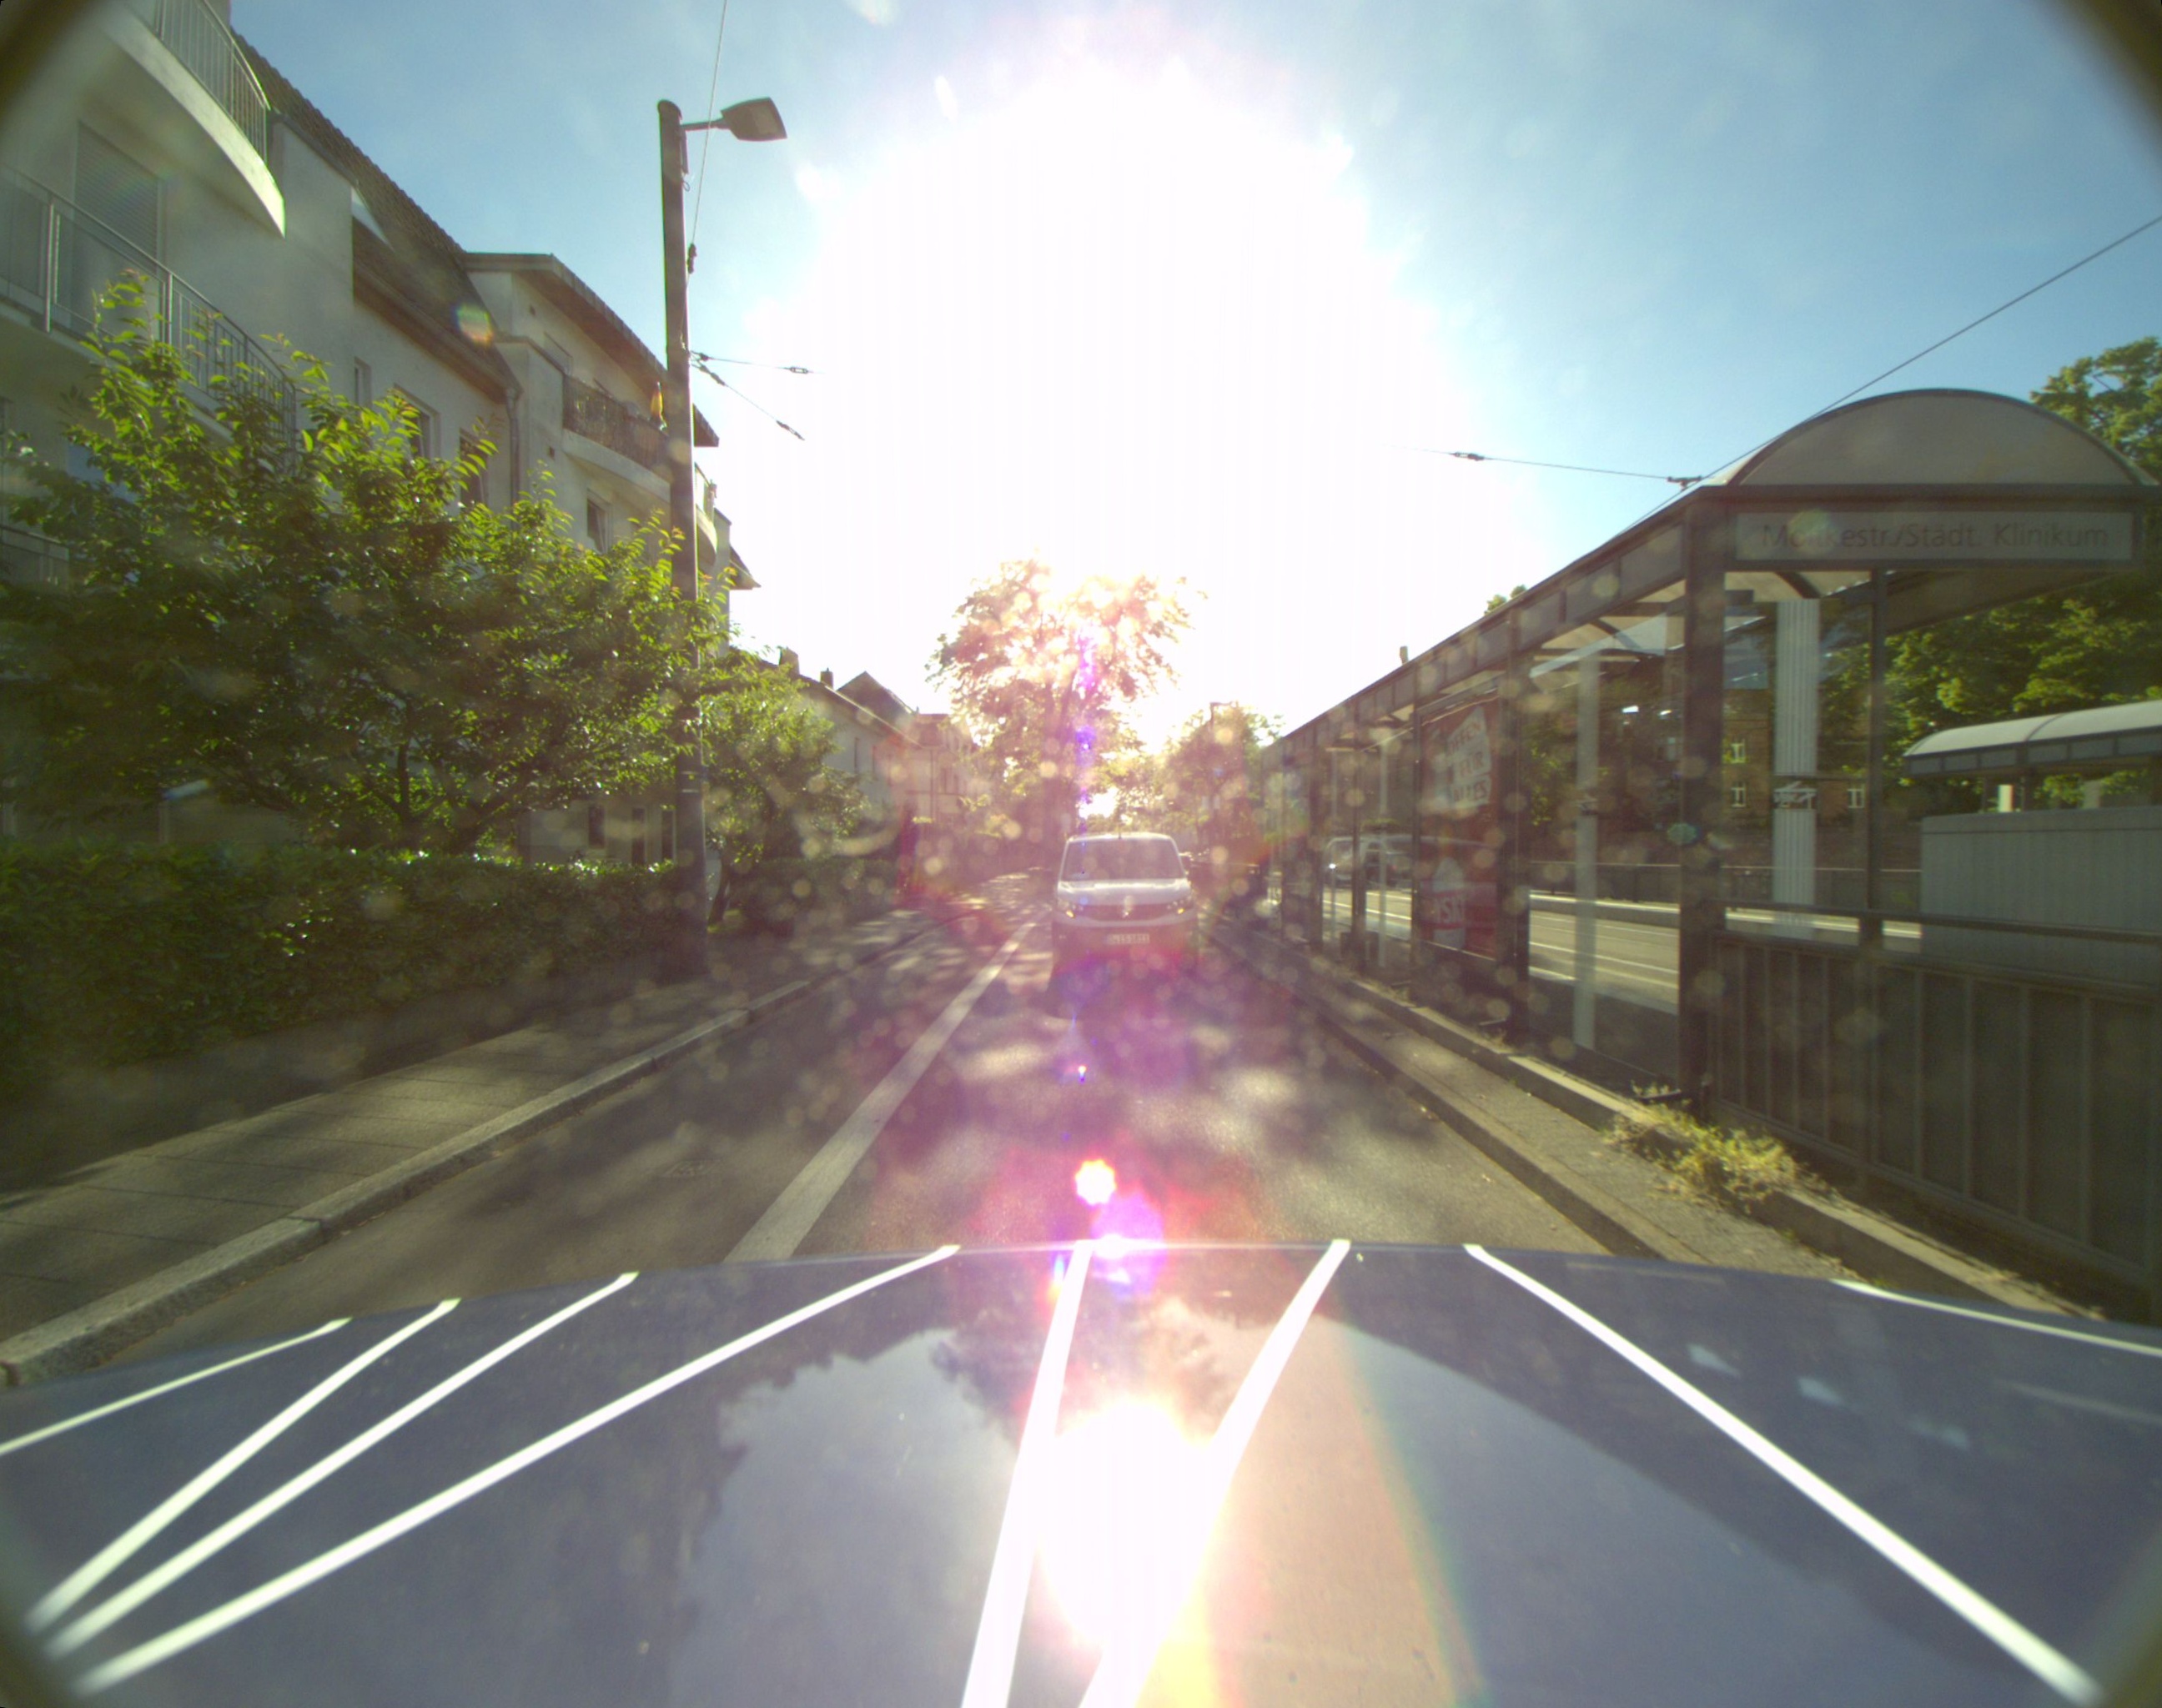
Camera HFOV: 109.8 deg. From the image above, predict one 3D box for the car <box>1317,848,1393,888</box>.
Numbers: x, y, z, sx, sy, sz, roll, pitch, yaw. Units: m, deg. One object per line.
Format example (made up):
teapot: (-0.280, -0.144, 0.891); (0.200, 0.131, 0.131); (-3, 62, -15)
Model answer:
car: (12.093, 0.568, 33.822); (1.911, 1.667, 4.358); (0, 1, 2)

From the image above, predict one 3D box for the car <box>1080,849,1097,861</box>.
car: (0.936, 0.079, 90.127); (1.719, 1.332, 3.918); (0, 1, 5)

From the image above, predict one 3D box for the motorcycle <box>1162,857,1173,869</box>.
motorcycle: (9.265, 0.955, 81.490); (1.132, 1.236, 2.574); (0, 1, 4)

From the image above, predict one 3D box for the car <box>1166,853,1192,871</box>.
car: (8.406, 0.701, 65.617); (1.859, 1.394, 3.985); (0, -3, 2)

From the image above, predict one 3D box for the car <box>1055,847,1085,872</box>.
car: (-0.766, 0.372, 56.111); (1.998, 1.733, 4.170); (0, 1, 1)

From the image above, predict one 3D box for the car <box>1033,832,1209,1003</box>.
car: (0.493, 0.651, 10.343); (1.832, 1.788, 4.334); (-2, 1, 2)

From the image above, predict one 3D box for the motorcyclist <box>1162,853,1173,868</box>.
motorcyclist: (9.278, 0.703, 81.652); (1.127, 1.516, 1.055); (0, 1, 4)

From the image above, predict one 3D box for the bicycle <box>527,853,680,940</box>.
bicycle: (-7.499, 0.650, 11.995); (1.845, 1.196, 0.825); (3, 1, 0)
